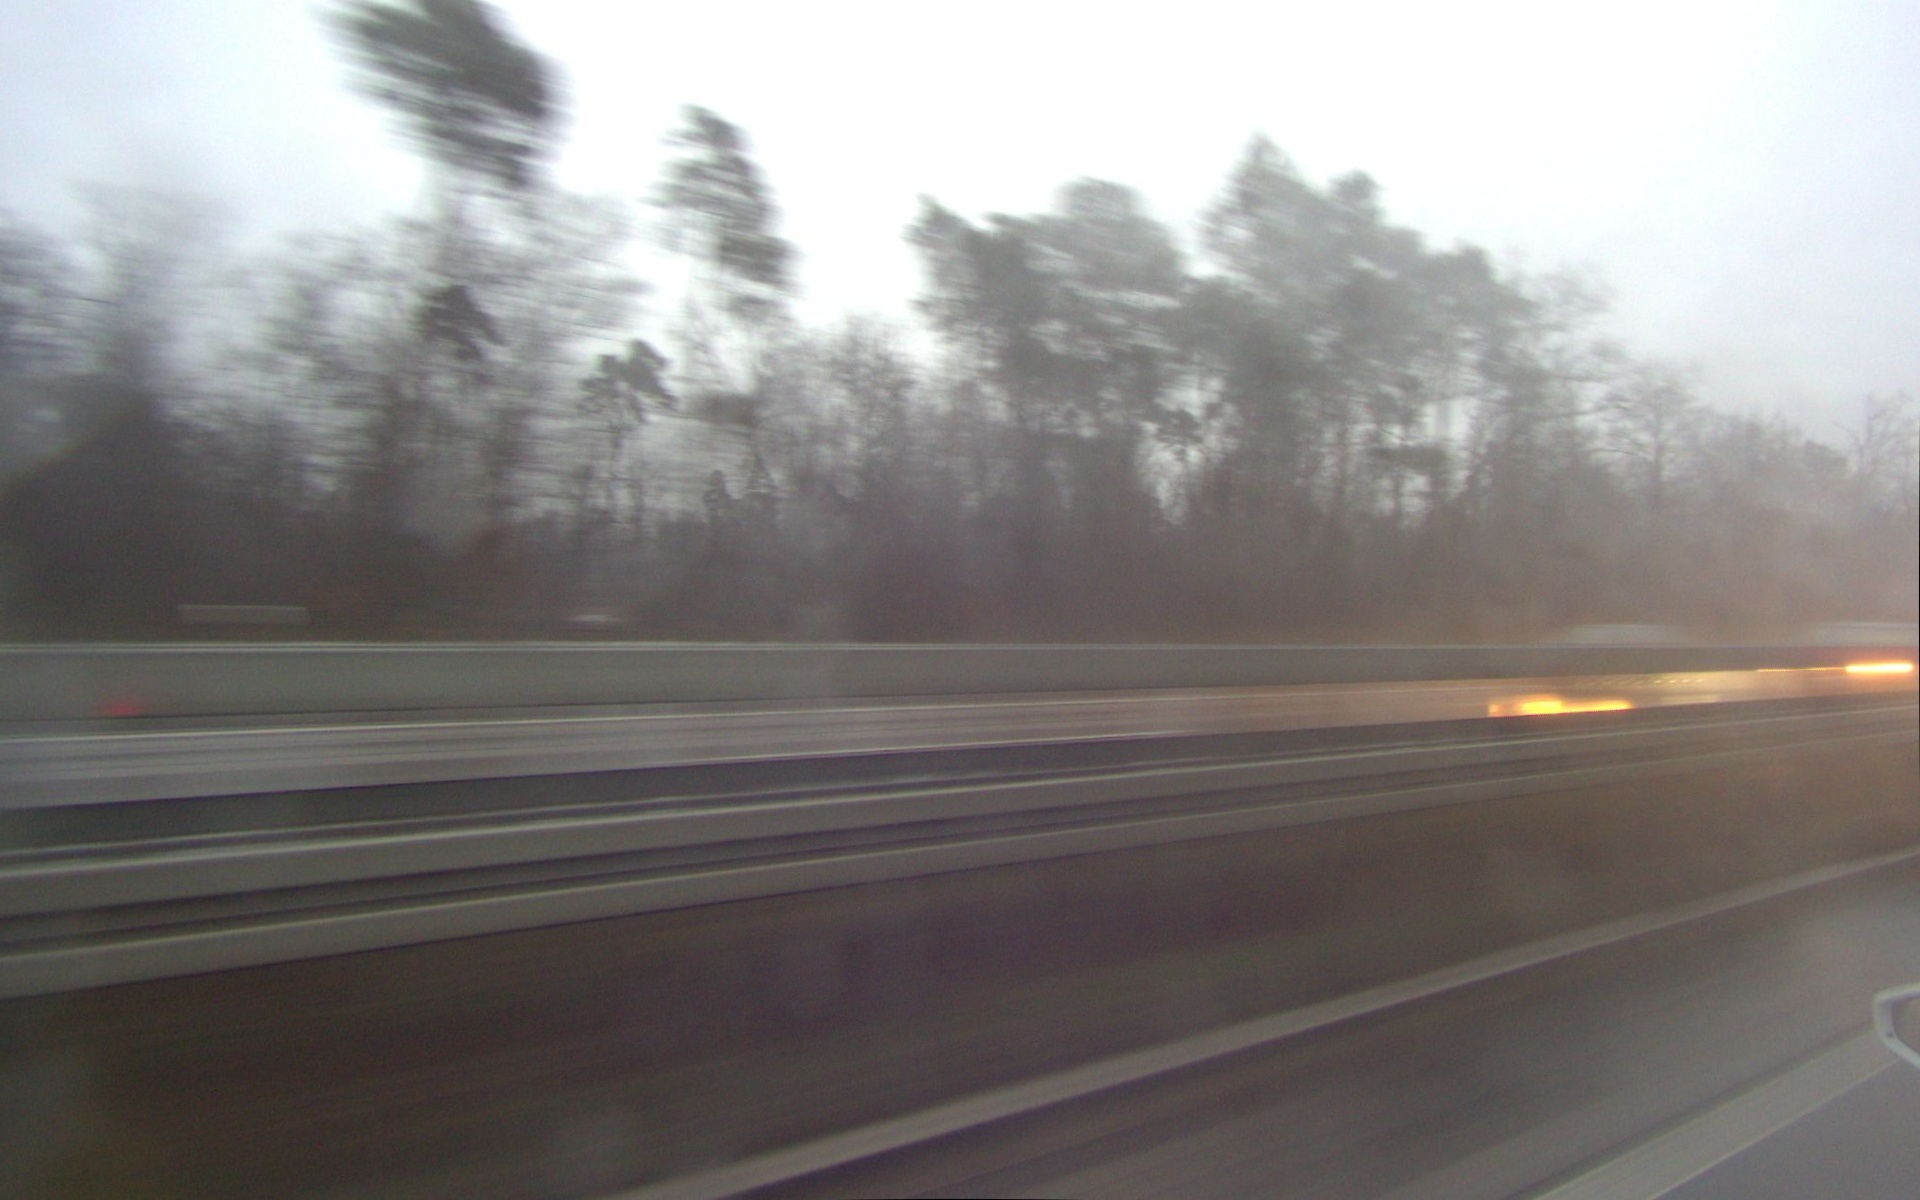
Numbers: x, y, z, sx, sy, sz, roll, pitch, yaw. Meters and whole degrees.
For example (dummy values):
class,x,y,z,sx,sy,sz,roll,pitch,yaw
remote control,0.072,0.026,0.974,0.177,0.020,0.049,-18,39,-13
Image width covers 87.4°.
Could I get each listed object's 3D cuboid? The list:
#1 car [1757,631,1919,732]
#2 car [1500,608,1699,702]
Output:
class,x,y,z,sx,sy,sz,roll,pitch,yaw
car,16.406,1.419,18.358,3.471,1.628,1.715,1,0,-29
car,13.676,1.118,21.469,3.952,1.831,1.974,1,0,-30
